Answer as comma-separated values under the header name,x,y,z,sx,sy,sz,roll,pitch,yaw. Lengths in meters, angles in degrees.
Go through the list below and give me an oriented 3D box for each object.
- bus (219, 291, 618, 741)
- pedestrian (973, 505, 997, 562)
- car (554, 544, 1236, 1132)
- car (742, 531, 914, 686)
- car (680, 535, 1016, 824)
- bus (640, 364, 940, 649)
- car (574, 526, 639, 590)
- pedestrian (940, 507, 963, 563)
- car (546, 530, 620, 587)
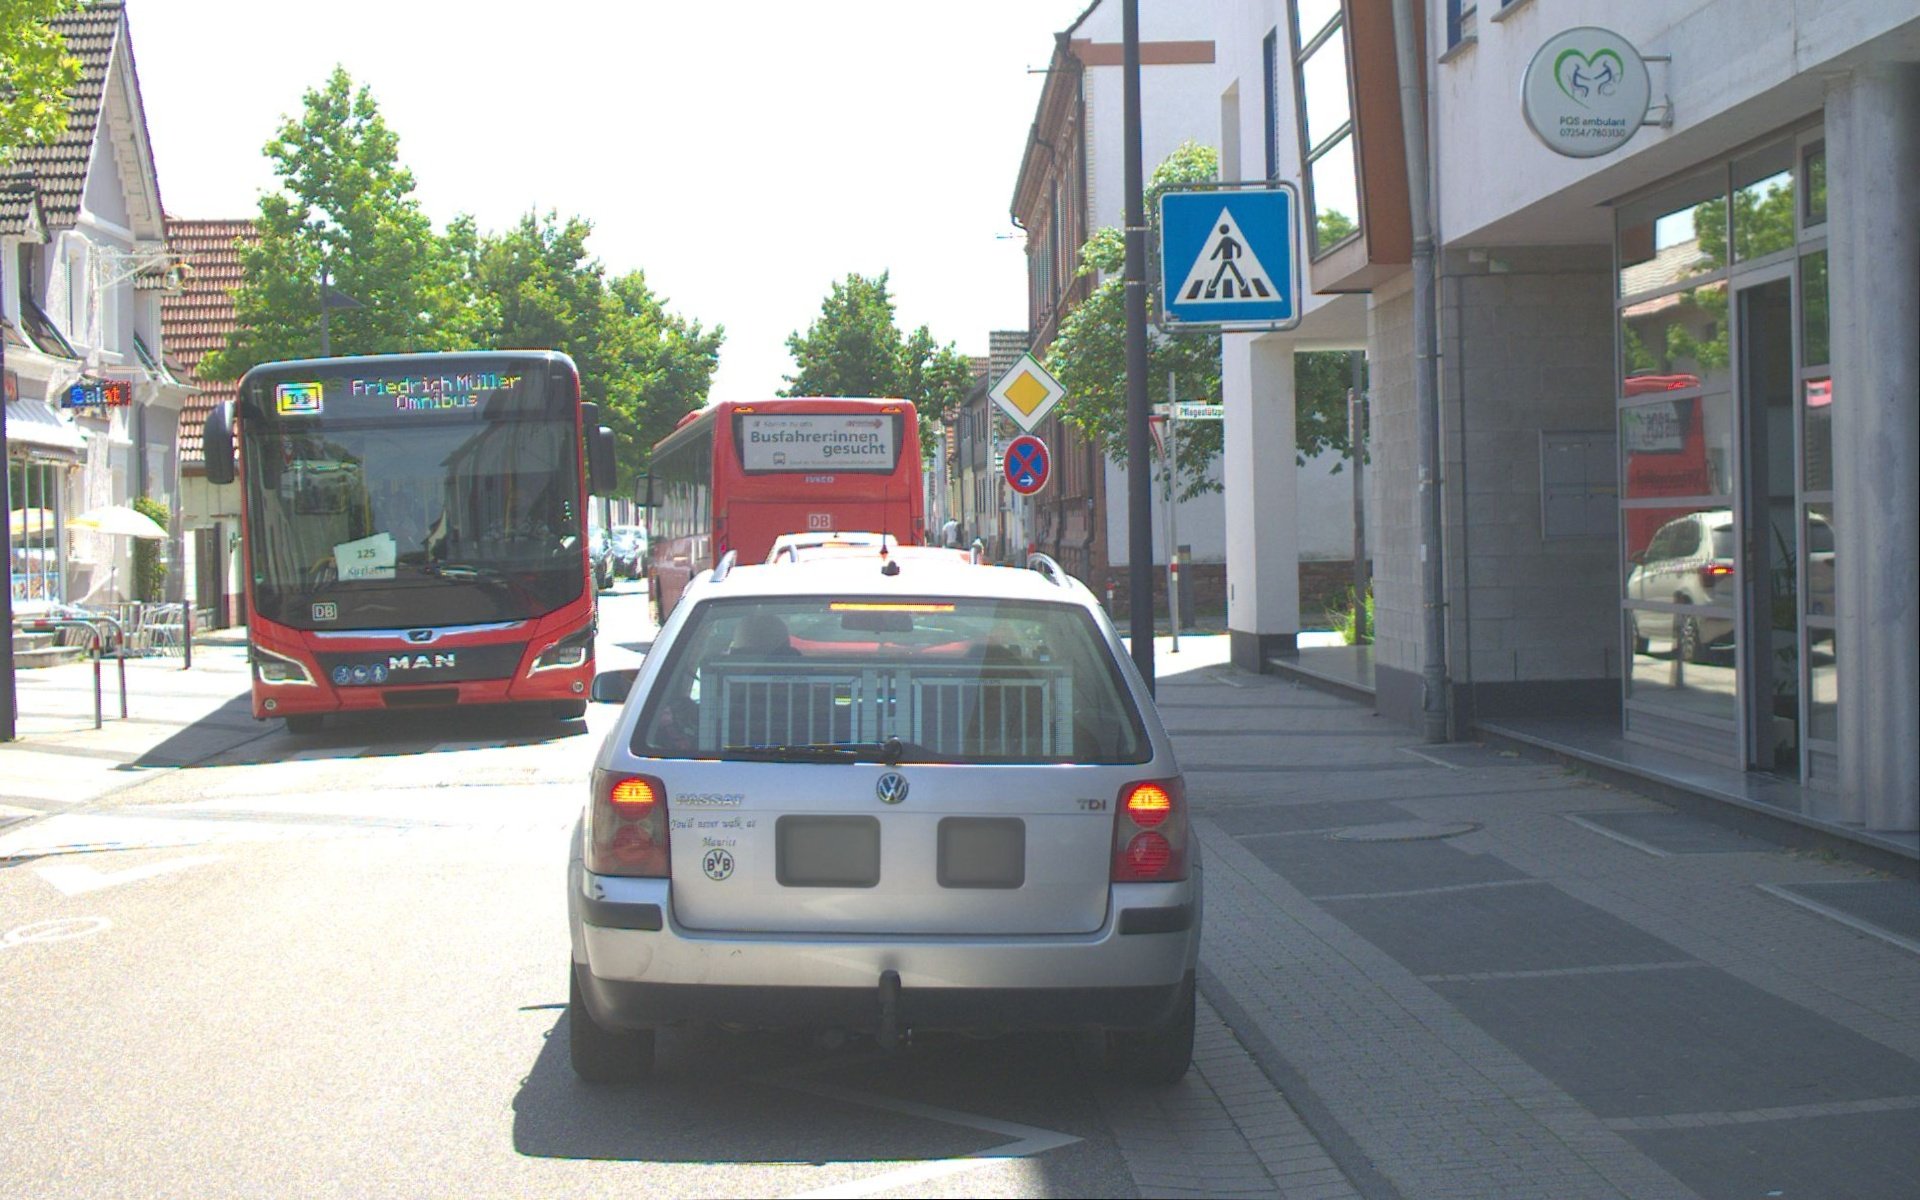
name,x,y,z,sx,sy,sz,roll,pitch,yaw
bus,-4.968,-0.791,33.923,2.668,3.113,17.811,-4,2,-7
pedestrian,0.745,-1.990,102.646,0.606,1.661,0.789,-1,1,-4
car,-0.232,0.564,10.360,1.677,1.425,3.680,1,1,-2
car,-1.263,0.040,33.686,1.593,1.425,3.680,0,1,-1
car,-0.639,0.370,19.307,1.677,1.425,3.680,-1,1,-2
bus,-2.558,-1.190,46.276,2.739,3.287,12.708,-1,1,-9
car,-11.343,-1.381,110.600,1.811,1.989,4.001,-1,1,-2
pedestrian,-0.262,-1.947,102.748,0.606,1.661,0.789,-1,1,-4
car,-10.725,-1.207,98.075,1.811,1.553,4.001,-1,1,-2
